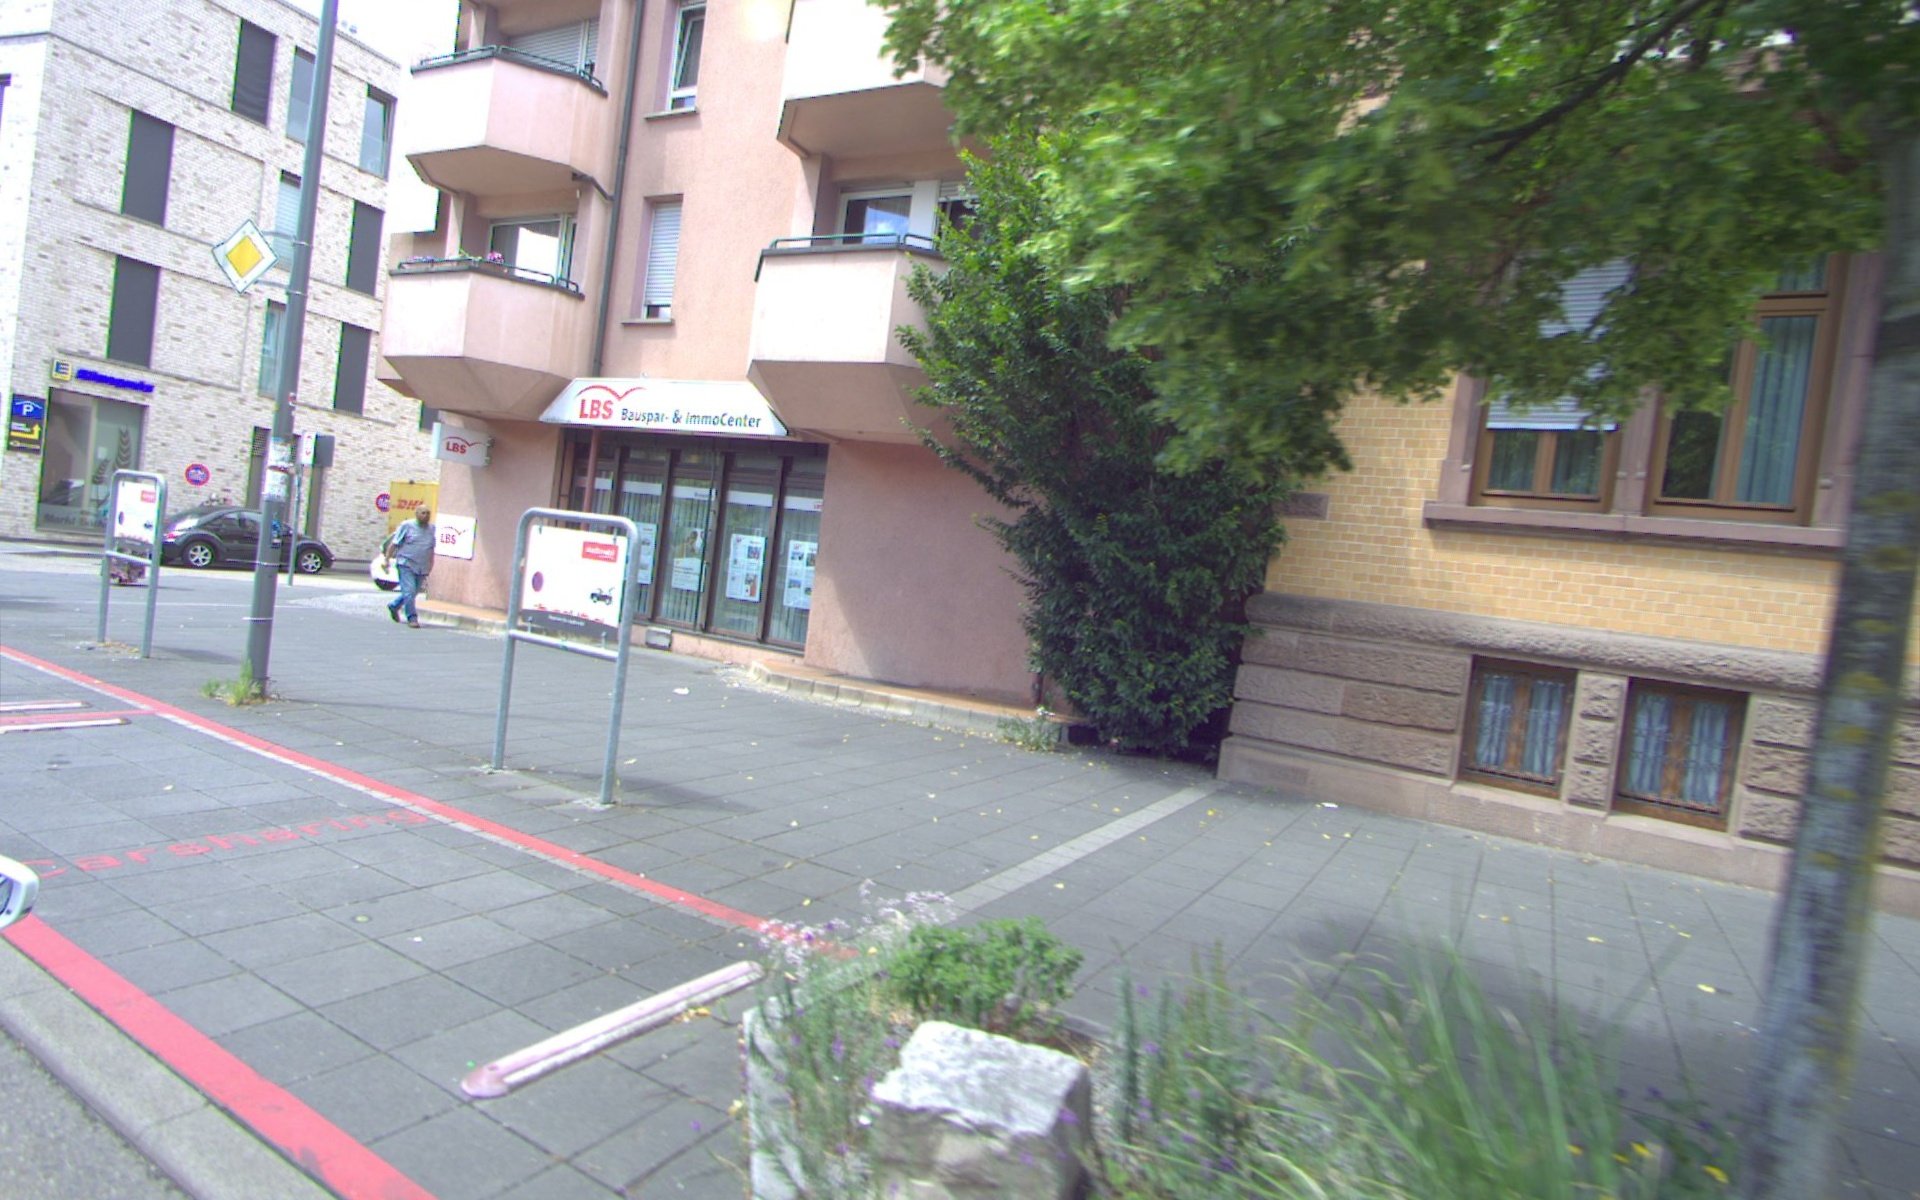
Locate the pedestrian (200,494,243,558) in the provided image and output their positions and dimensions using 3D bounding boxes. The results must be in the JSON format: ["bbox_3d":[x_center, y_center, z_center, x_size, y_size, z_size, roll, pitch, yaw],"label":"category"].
[{"bbox_3d":[-19.371,-1.932,26.403,0.592,1.592,0.522,6,0,-2],"label":"pedestrian"}]

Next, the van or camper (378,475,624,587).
[{"bbox_3d":[-13.863,-1.981,31.056,2.237,2.772,6.861,6,2,28],"label":"van or camper"}]

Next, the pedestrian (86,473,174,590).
[{"bbox_3d":[-12.648,-1.044,15.357,0.736,1.661,0.921,5,4,-25],"label":"pedestrian"}]

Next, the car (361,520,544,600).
[{"bbox_3d":[-11.776,-0.891,23.536,1.689,1.496,3.384,8,2,29],"label":"car"}]

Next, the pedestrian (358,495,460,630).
[{"bbox_3d":[-7.427,-0.498,13.569,0.928,1.707,0.717,6,2,28],"label":"pedestrian"}]

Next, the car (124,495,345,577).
[{"bbox_3d":[-17.330,-1.483,24.238,1.751,1.496,3.901,7,2,24],"label":"car"}]

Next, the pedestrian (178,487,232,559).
[{"bbox_3d":[-19.328,-1.967,25.767,0.801,1.691,0.555,6,0,-2],"label":"pedestrian"}]
